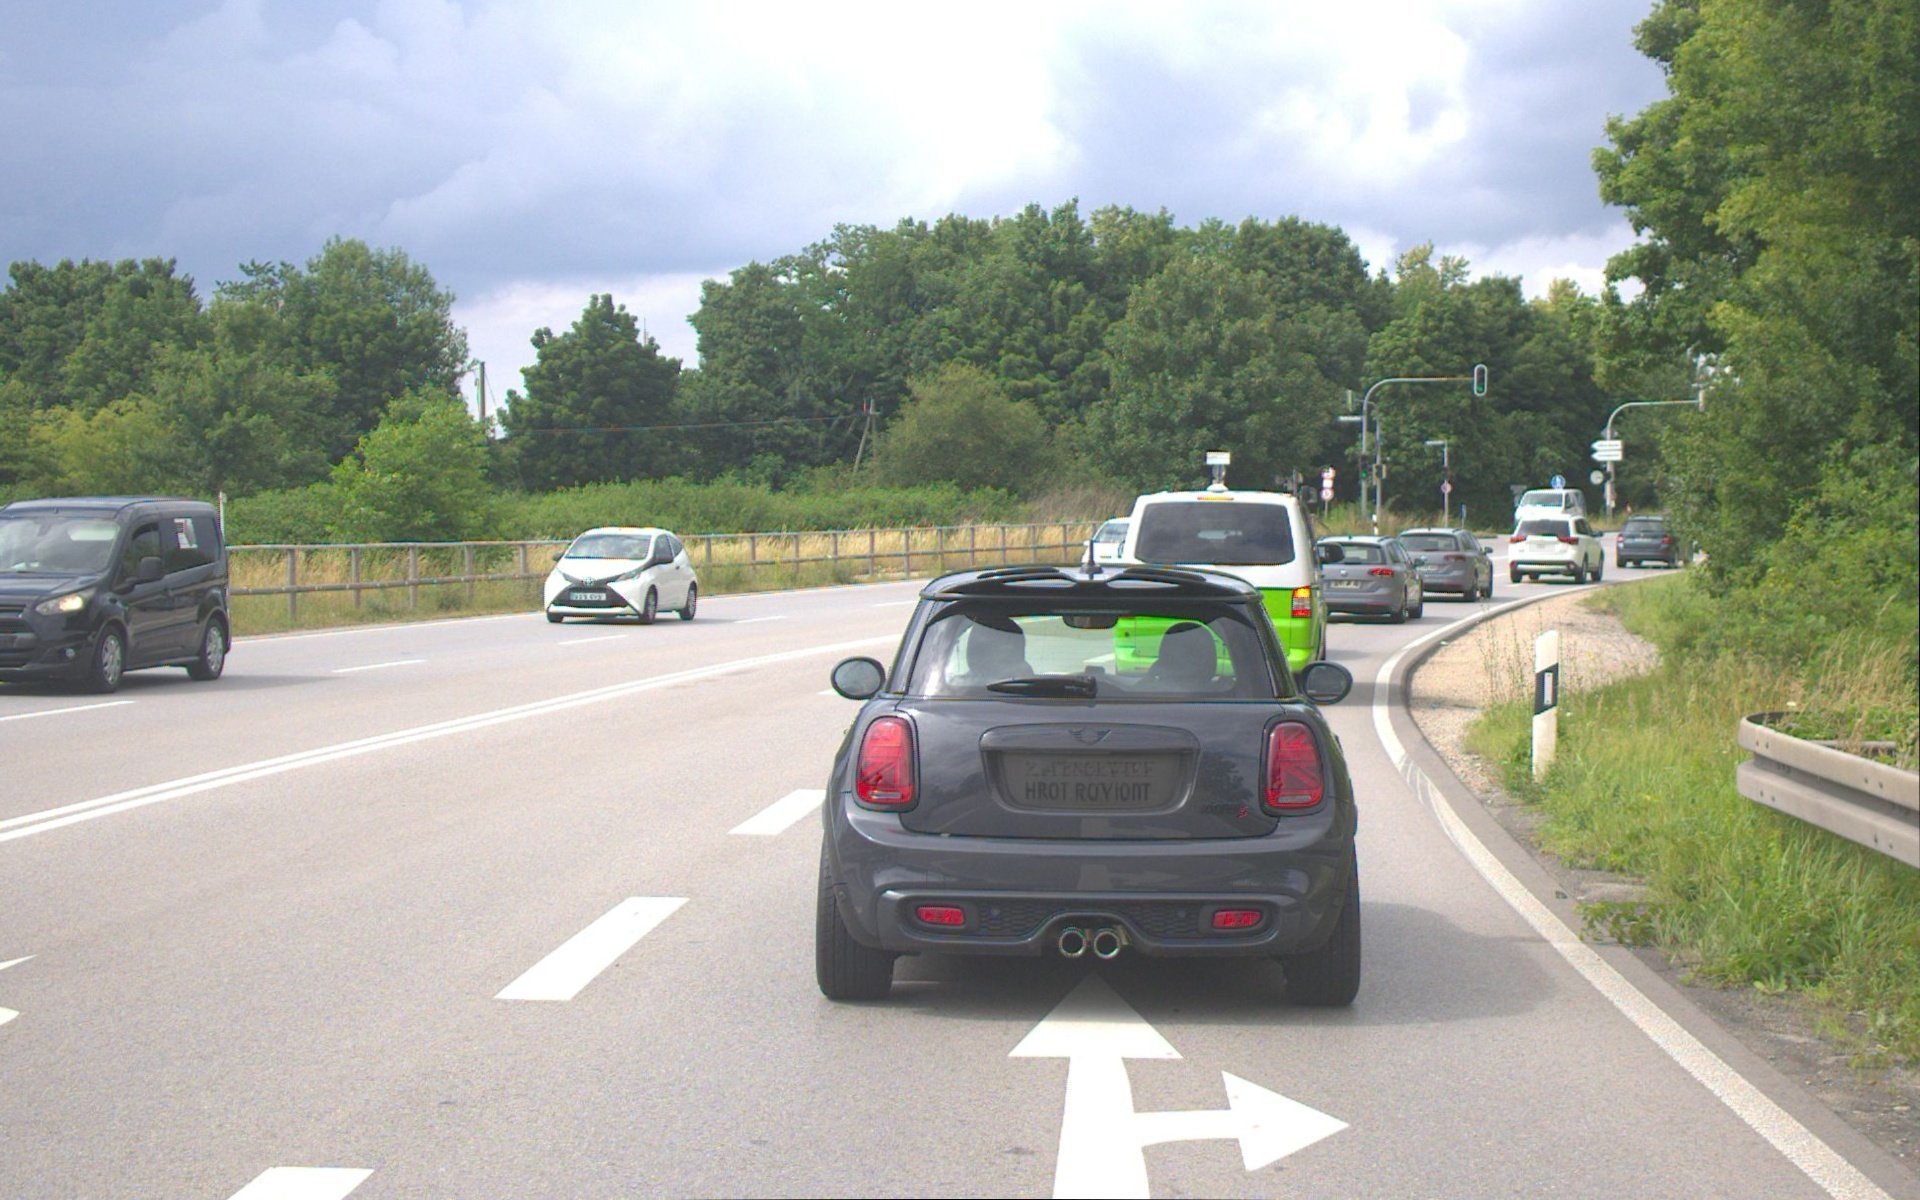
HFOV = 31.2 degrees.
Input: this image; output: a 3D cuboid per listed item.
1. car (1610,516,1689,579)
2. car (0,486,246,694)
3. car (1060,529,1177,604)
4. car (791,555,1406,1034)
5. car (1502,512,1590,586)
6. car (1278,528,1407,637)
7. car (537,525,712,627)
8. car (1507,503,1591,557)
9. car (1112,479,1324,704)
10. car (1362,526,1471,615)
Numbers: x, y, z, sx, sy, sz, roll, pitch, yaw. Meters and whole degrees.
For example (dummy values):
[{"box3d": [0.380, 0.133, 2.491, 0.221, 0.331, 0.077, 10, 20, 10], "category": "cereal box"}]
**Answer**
[{"box3d": [19.479, -1.465, 97.197, 1.994, 1.678, 3.998, 2, 1, 9], "category": "car"}, {"box3d": [-8.283, -0.147, 32.071, 1.994, 1.791, 4.319, 1, 1, 5], "category": "car"}, {"box3d": [3.423, -0.730, 73.653, 1.731, 1.513, 3.998, 2, 1, 13], "category": "car"}, {"box3d": [0.370, 0.571, 12.377, 1.845, 1.423, 3.841, 1, 1, -2], "category": "car"}, {"box3d": [14.206, -1.231, 83.364, 1.994, 1.678, 3.998, 2, 1, 9], "category": "car"}, {"box3d": [6.418, -0.303, 57.362, 1.994, 1.678, 3.999, 2, 1, 8], "category": "car"}, {"box3d": [-5.152, -0.397, 53.218, 1.877, 1.484, 3.743, 1, 1, 8], "category": "car"}, {"box3d": [22.385, -2.670, 130.550, 1.996, 2.007, 4.661, 1, 2, 25], "category": "car"}, {"box3d": [2.481, -0.096, 32.701, 1.845, 1.980, 3.840, 1, 1, 5], "category": "car"}, {"box3d": [9.234, -0.588, 69.274, 1.994, 1.678, 3.976, 2, 1, 9], "category": "car"}]
